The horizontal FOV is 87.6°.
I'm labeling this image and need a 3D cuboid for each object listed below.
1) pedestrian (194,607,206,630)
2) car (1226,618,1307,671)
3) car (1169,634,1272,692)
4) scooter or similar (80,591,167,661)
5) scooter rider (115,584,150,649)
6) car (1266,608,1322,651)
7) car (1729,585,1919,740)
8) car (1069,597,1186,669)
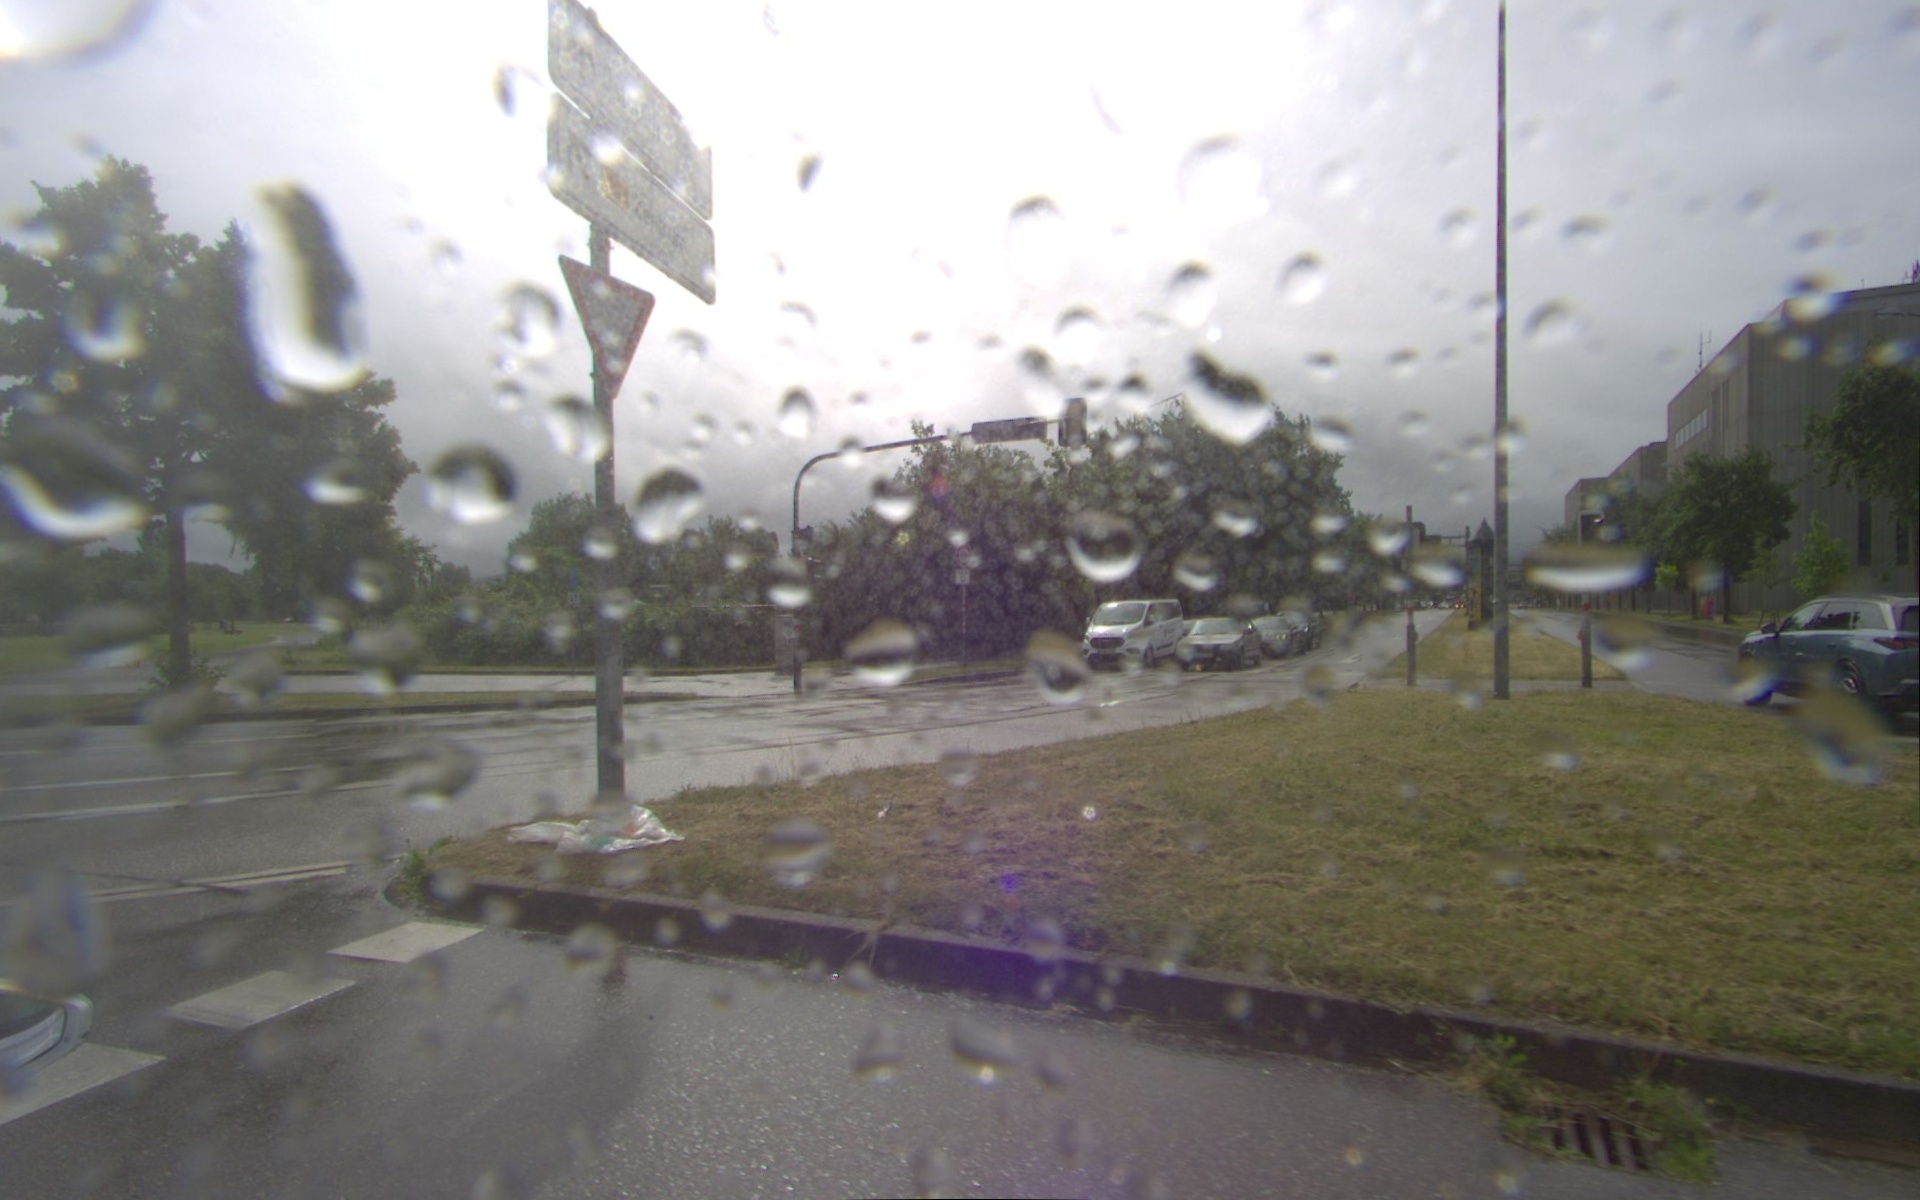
[{"bbox_3d":[-60.960,1.487,80.340,0.589,1.754,0.604,-1,-1,-23],"label":"pedestrian"},{"bbox_3d":[10.474,1.447,34.033,1.838,1.556,4.469,0,1,28],"label":"car"},{"bbox_3d":[7.433,1.715,28.281,1.838,1.398,4.534,0,-1,28],"label":"car"},{"bbox_3d":[-25.994,0.843,31.219,1.220,2.039,3.398,-1,-2,-25],"label":"scooter or similar"},{"bbox_3d":[-26.434,0.526,31.999,0.695,2.039,0.767,-1,-1,-27],"label":"scooter rider"},{"bbox_3d":[13.302,1.144,39.810,1.543,1.602,3.587,0,0,28],"label":"car"},{"bbox_3d":[12.354,0.721,13.306,2.006,1.781,4.314,1,0,18],"label":"car"},{"bbox_3d":[5.235,0.960,30.715,2.047,2.013,4.779,0,0,29],"label":"car"}]
